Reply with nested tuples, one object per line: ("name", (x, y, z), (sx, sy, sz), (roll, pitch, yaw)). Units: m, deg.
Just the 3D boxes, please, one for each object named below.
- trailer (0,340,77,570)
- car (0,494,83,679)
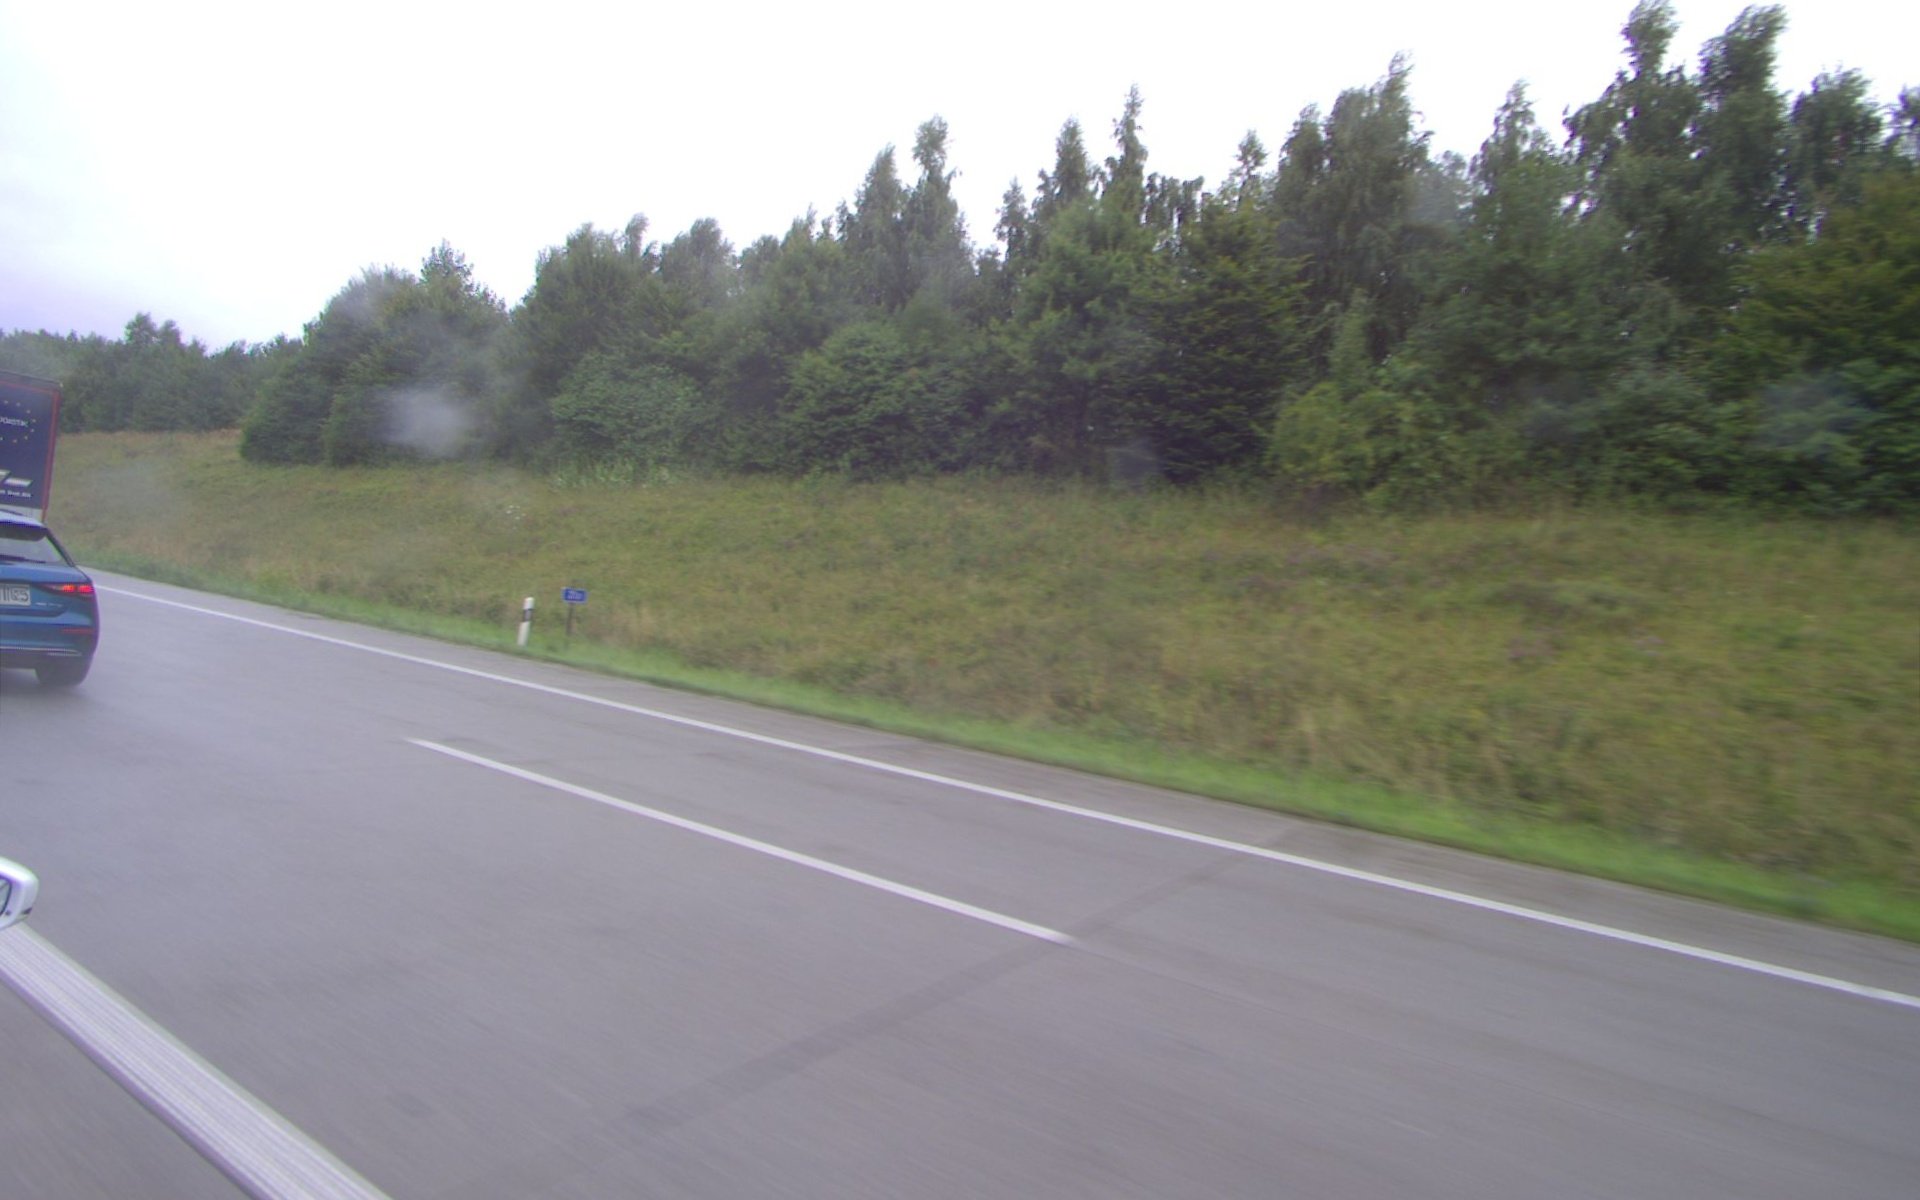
("trailer", (-25.665, -3.648, 23.733), (14.954, 4.430, 2.711), (6, -2, 32))
("car", (-9.853, -0.314, 8.934), (4.595, 1.476, 1.731), (5, -1, 31))
